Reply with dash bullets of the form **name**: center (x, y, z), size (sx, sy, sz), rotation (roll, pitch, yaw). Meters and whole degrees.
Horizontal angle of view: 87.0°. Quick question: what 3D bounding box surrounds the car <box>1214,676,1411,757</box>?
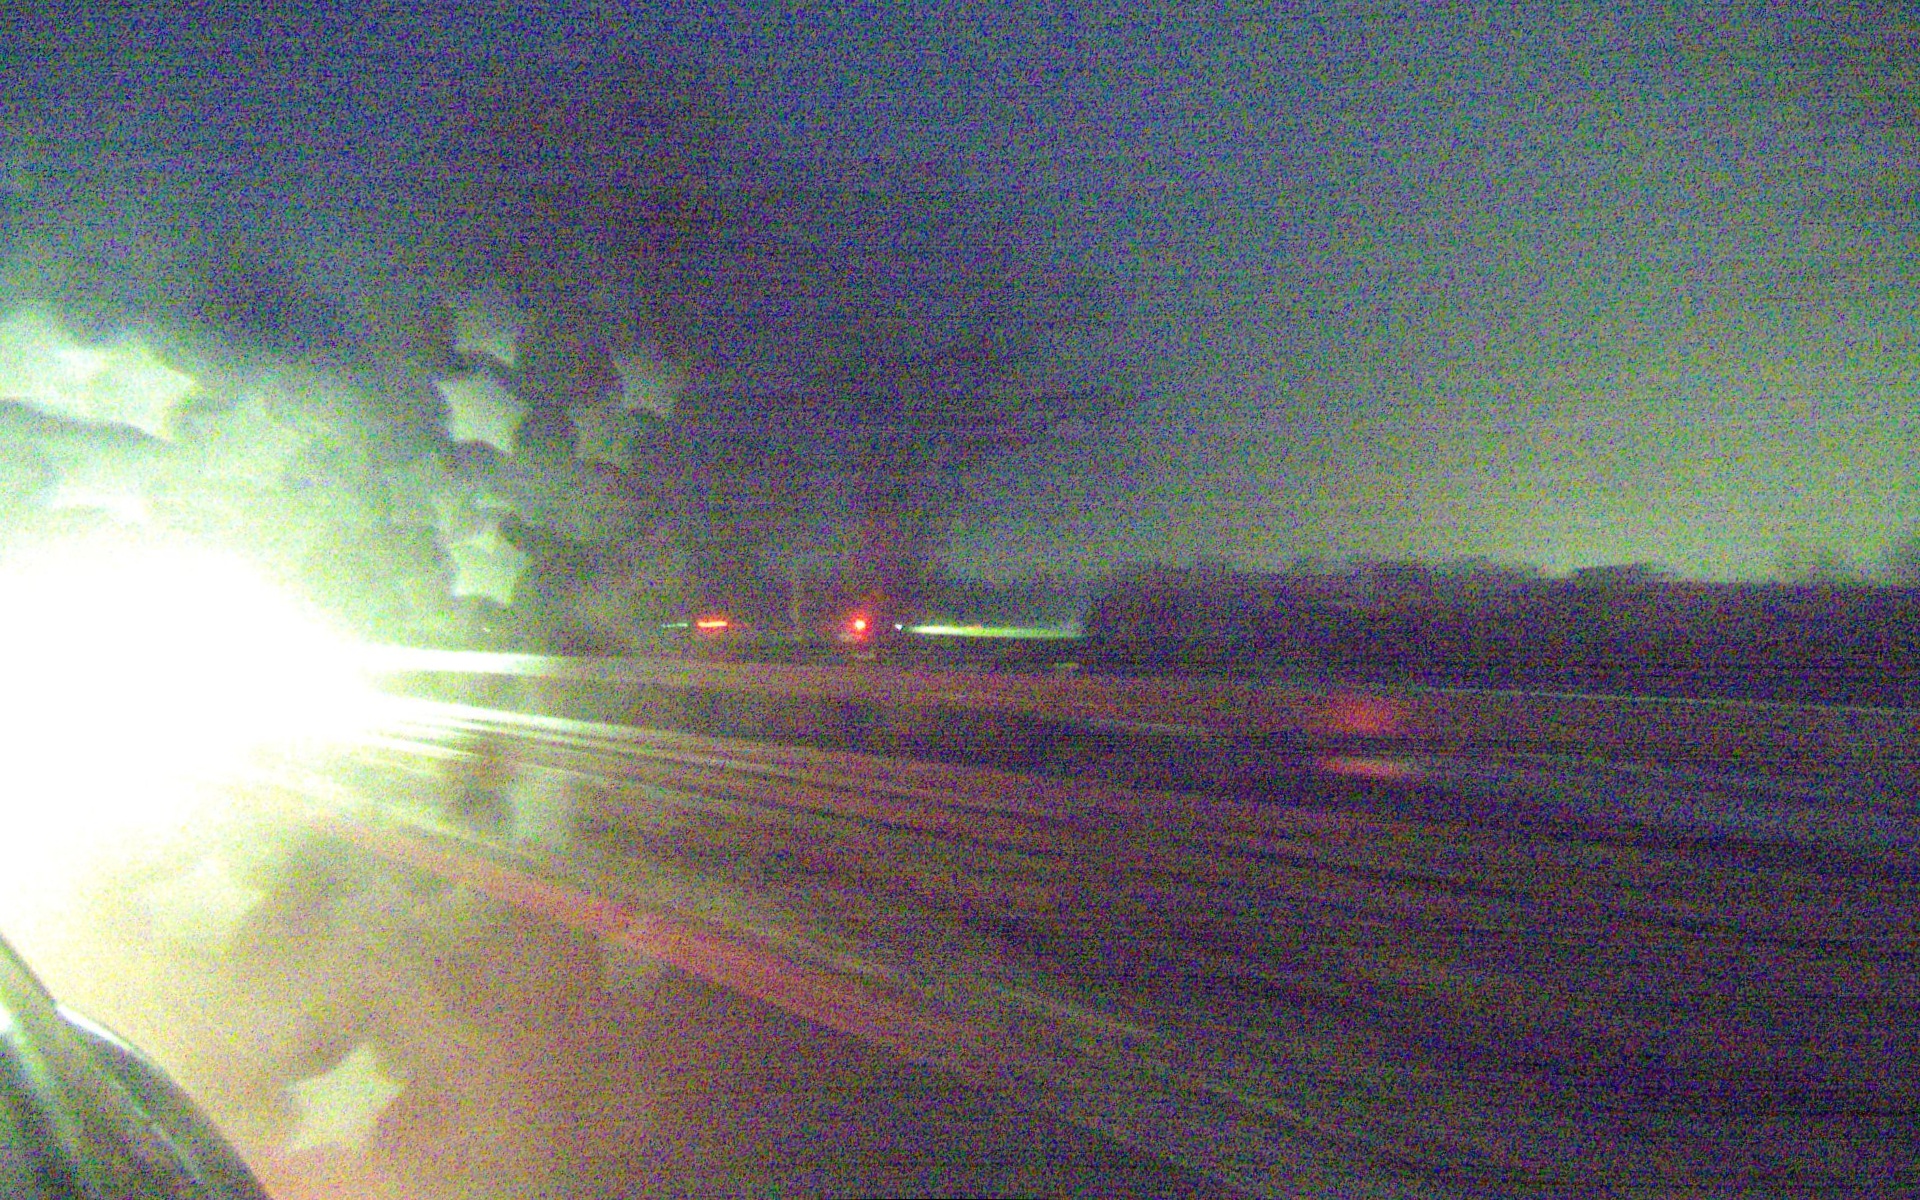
- **car**: center (7.883, 2.561, 22.935), size (1.703, 1.408, 3.939), rotation (4, -2, -34)
